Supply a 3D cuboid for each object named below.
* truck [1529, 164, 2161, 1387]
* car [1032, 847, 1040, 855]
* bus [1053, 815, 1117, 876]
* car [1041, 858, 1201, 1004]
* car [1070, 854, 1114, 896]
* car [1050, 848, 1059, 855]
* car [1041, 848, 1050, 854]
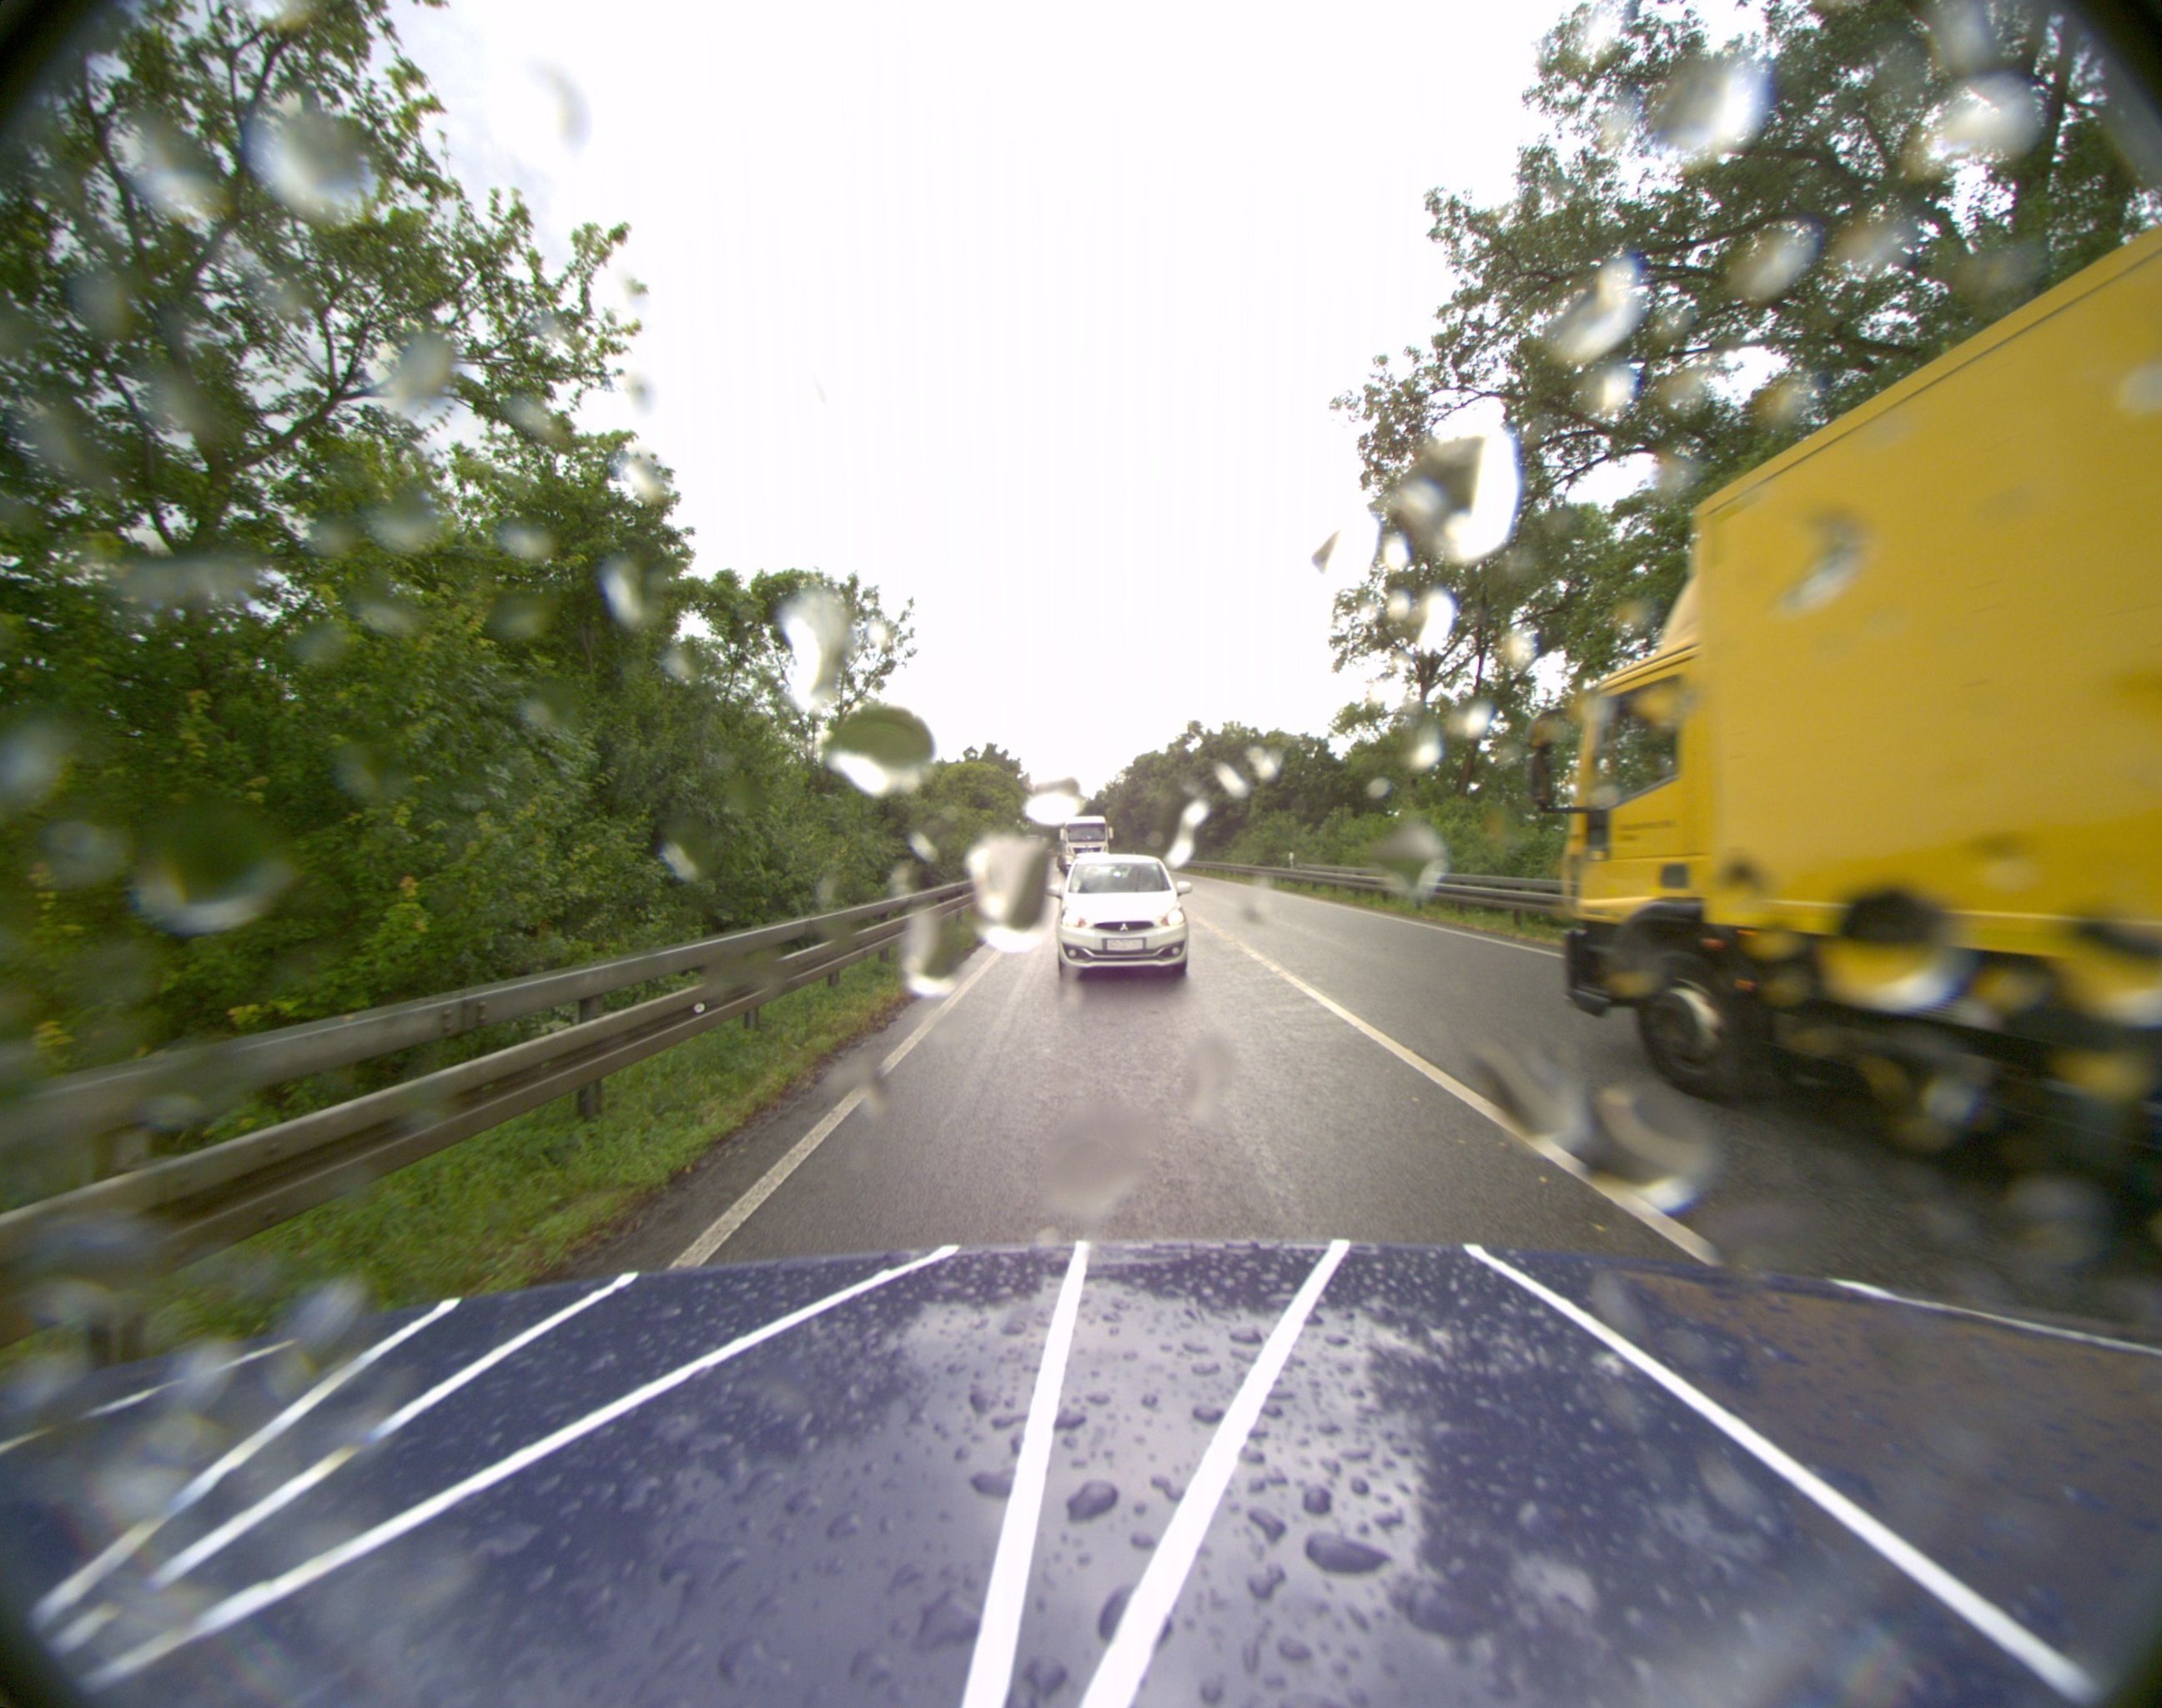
[{"bbox_3d":[4.358,-0.216,0.607,2.777,3.409,9.187,-2,1,2],"label":"truck"},{"bbox_3d":[-8.291,-0.624,140.557,1.393,1.470,3.225,-1,1,-6],"label":"car"},{"bbox_3d":[0.002,-0.543,49.786,3.064,3.405,13.633,-2,1,-4],"label":"bus"},{"bbox_3d":[0.473,0.850,10.310,1.700,1.471,4.062,-2,1,1],"label":"car"},{"bbox_3d":[0.442,0.728,27.635,1.475,1.410,3.429,-1,0,2],"label":"car"},{"bbox_3d":[-5.015,-0.535,144.867,1.246,1.281,2.880,-2,1,-10],"label":"car"},{"bbox_3d":[-7.326,-0.653,156.305,1.377,1.281,3.249,-2,1,-10],"label":"car"}]
